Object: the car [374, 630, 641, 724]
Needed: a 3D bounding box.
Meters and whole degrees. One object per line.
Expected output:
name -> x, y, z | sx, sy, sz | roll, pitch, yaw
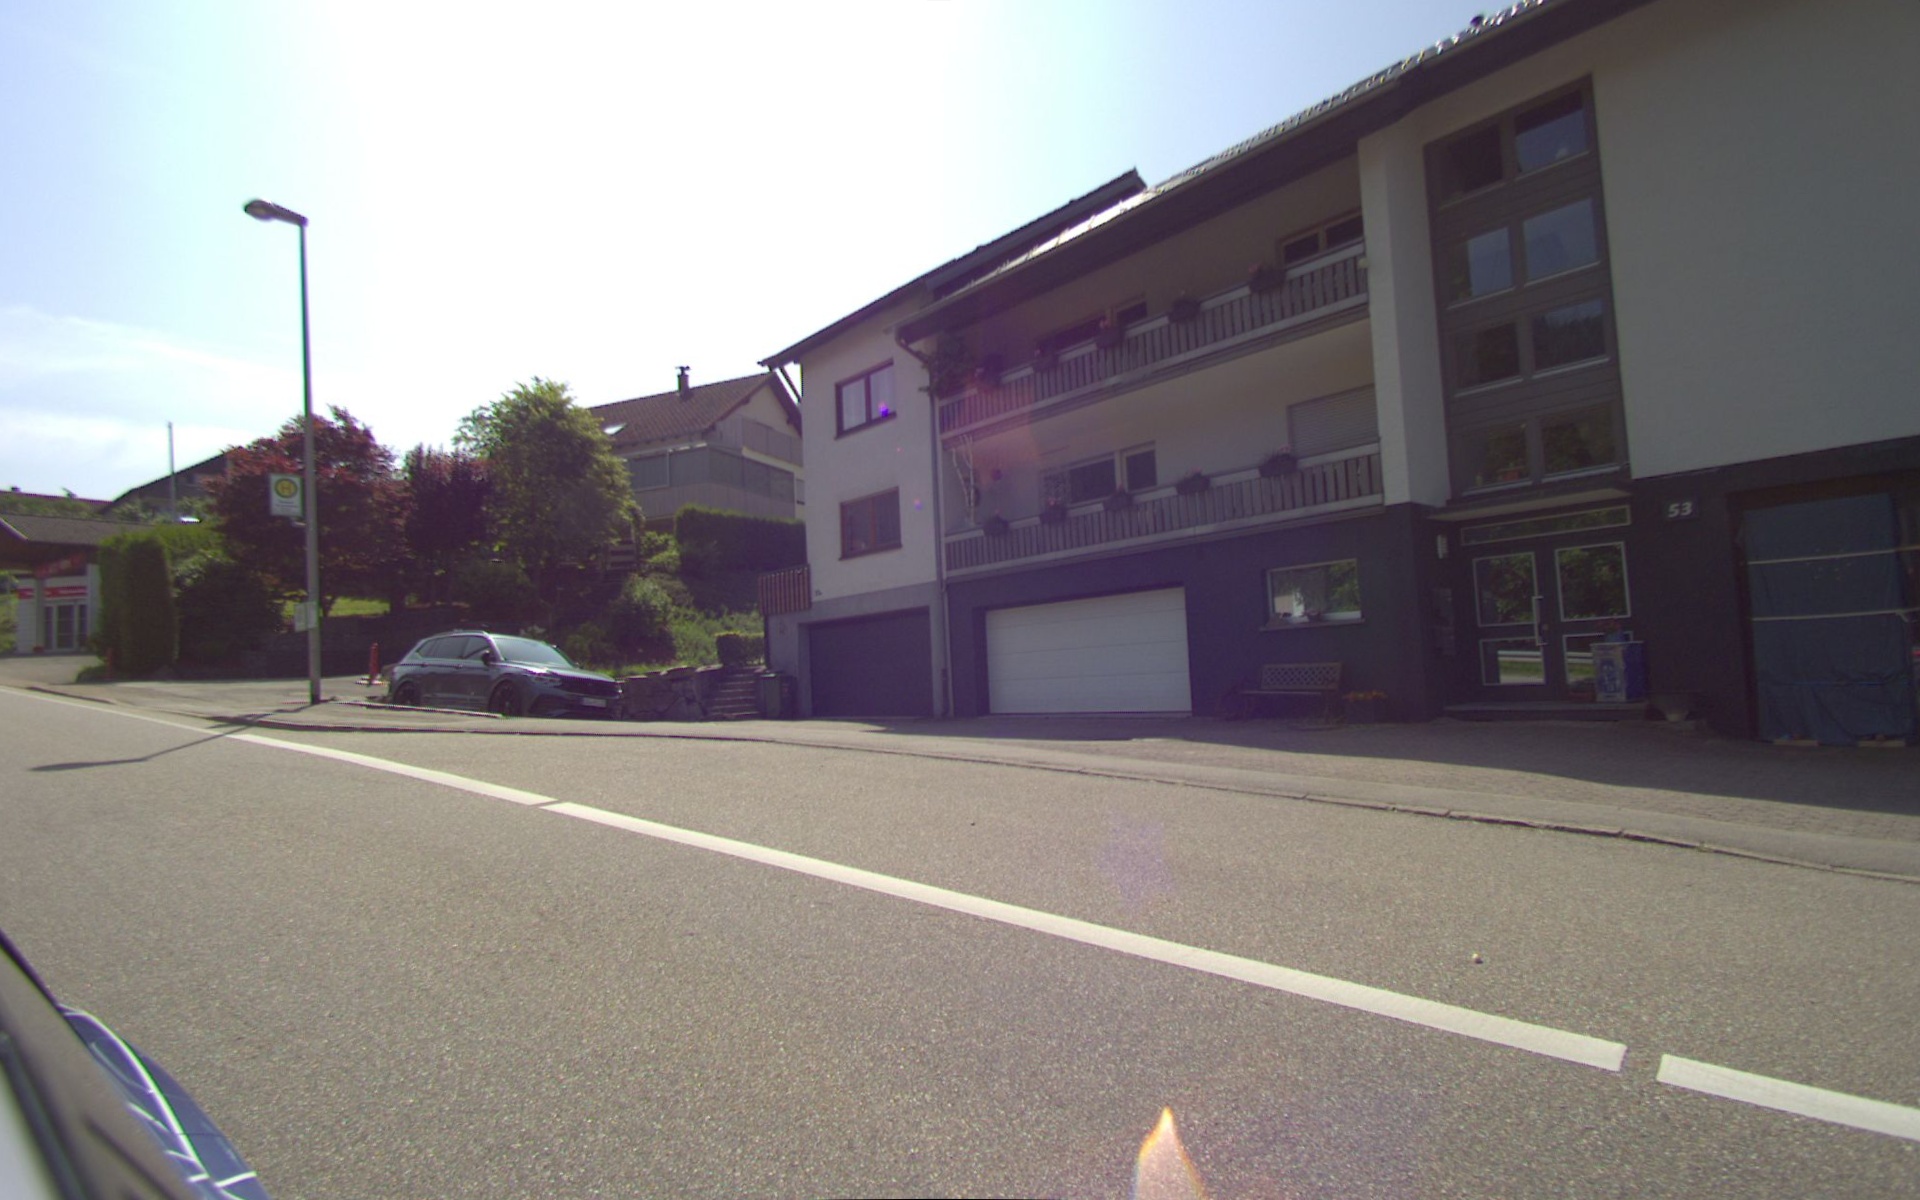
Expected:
car -> -7.459, 1.173, 16.522 | 4.682, 1.349, 1.767 | -1, -3, 34
